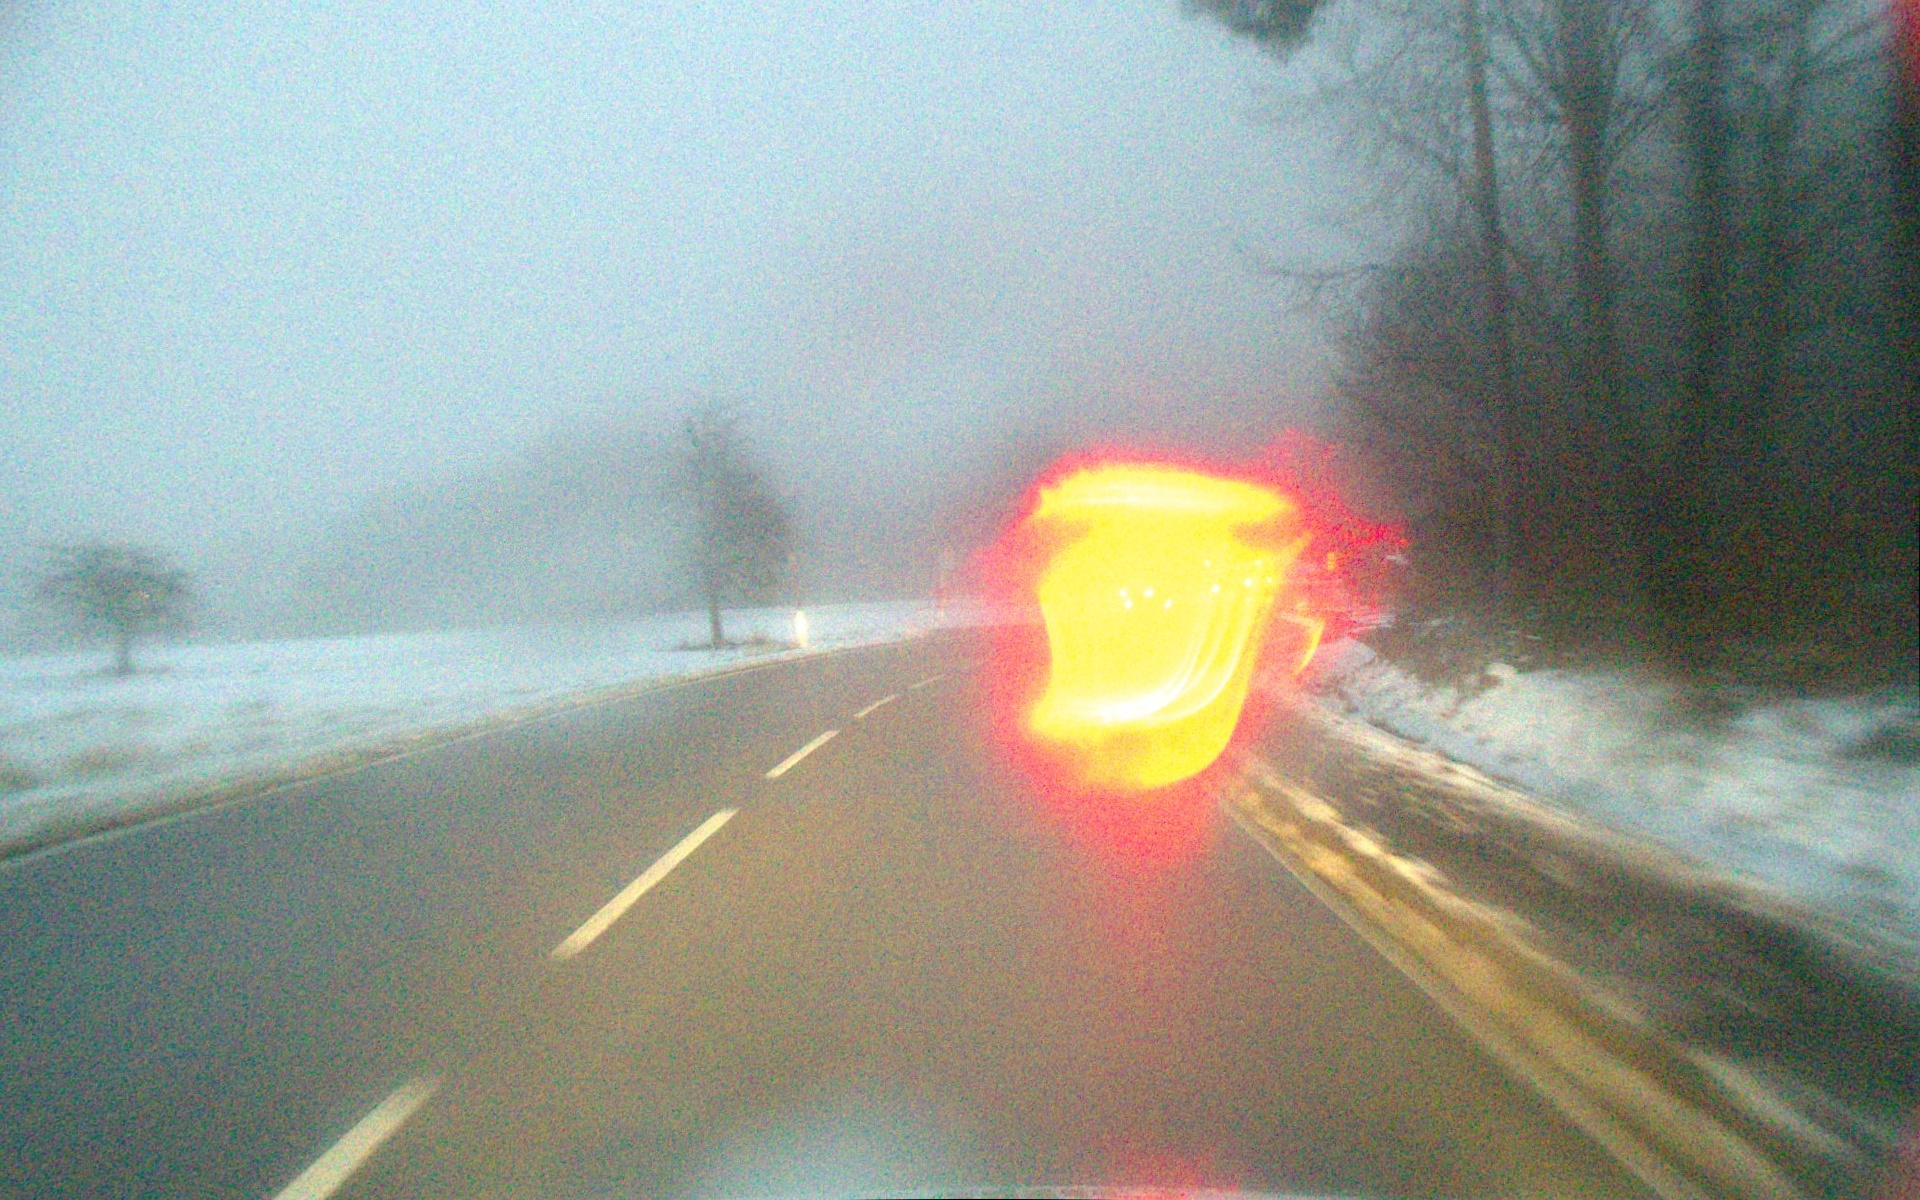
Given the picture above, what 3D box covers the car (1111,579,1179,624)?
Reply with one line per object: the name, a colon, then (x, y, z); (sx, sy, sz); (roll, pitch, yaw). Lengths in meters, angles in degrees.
car: (6.073, 0.028, 54.020); (1.881, 1.299, 4.004); (-1, 2, 11)
